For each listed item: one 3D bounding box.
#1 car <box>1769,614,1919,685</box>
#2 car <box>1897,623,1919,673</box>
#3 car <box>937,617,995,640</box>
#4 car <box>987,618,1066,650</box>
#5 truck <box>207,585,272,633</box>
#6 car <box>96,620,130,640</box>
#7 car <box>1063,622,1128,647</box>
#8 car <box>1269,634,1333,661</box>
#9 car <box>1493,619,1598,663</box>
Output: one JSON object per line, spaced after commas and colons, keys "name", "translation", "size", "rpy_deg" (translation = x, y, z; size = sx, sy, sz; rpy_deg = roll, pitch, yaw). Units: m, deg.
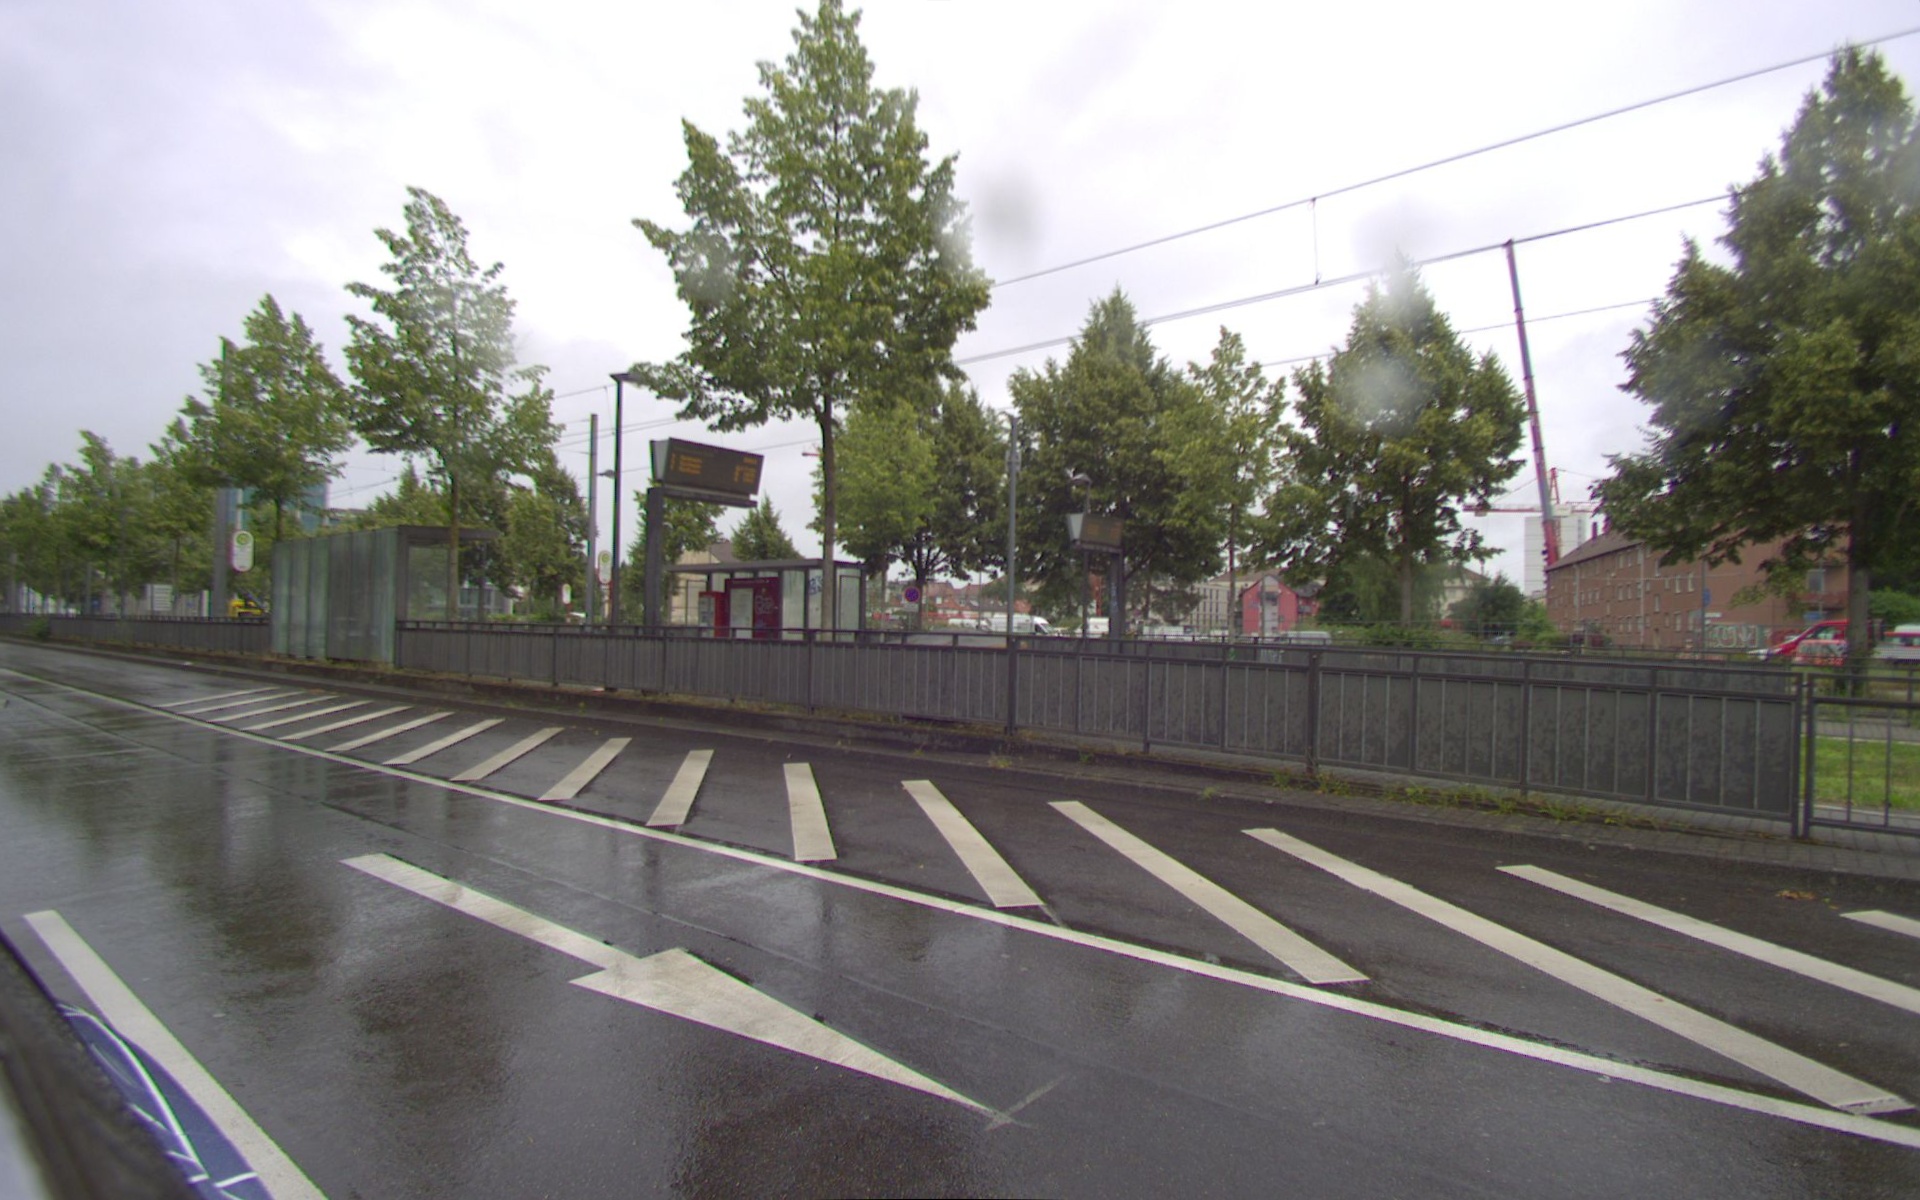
{"name": "car", "translation": [33.600, 1.766, 36.667], "size": [1.597, 2.489, 6.500], "rpy_deg": [2, -2, -39]}
{"name": "car", "translation": [45.946, 2.167, 44.964], "size": [1.597, 2.296, 6.114], "rpy_deg": [2, -3, -37]}
{"name": "car", "translation": [0.624, 2.984, 108.312], "size": [6.123, 2.323, 1.978], "rpy_deg": [0, 0, 32]}
{"name": "car", "translation": [5.602, 2.812, 85.679], "size": [6.735, 2.480, 1.975], "rpy_deg": [0, 0, 37]}
{"name": "truck", "translation": [-59.966, 0.721, 84.112], "size": [9.184, 3.806, 2.657], "rpy_deg": [0, 0, 43]}
{"name": "car", "translation": [-85.752, 3.020, 102.442], "size": [3.994, 2.029, 1.740], "rpy_deg": [-1, -2, 38]}
{"name": "car", "translation": [11.866, 2.986, 88.731], "size": [5.412, 2.067, 1.976], "rpy_deg": [0, 0, 37]}
{"name": "car", "translation": [26.231, 3.598, 77.890], "size": [4.415, 1.891, 1.855], "rpy_deg": [0, 0, 34]}
{"name": "car", "translation": [36.078, 2.483, 62.436], "size": [5.482, 2.471, 1.976], "rpy_deg": [0, 0, 36]}
